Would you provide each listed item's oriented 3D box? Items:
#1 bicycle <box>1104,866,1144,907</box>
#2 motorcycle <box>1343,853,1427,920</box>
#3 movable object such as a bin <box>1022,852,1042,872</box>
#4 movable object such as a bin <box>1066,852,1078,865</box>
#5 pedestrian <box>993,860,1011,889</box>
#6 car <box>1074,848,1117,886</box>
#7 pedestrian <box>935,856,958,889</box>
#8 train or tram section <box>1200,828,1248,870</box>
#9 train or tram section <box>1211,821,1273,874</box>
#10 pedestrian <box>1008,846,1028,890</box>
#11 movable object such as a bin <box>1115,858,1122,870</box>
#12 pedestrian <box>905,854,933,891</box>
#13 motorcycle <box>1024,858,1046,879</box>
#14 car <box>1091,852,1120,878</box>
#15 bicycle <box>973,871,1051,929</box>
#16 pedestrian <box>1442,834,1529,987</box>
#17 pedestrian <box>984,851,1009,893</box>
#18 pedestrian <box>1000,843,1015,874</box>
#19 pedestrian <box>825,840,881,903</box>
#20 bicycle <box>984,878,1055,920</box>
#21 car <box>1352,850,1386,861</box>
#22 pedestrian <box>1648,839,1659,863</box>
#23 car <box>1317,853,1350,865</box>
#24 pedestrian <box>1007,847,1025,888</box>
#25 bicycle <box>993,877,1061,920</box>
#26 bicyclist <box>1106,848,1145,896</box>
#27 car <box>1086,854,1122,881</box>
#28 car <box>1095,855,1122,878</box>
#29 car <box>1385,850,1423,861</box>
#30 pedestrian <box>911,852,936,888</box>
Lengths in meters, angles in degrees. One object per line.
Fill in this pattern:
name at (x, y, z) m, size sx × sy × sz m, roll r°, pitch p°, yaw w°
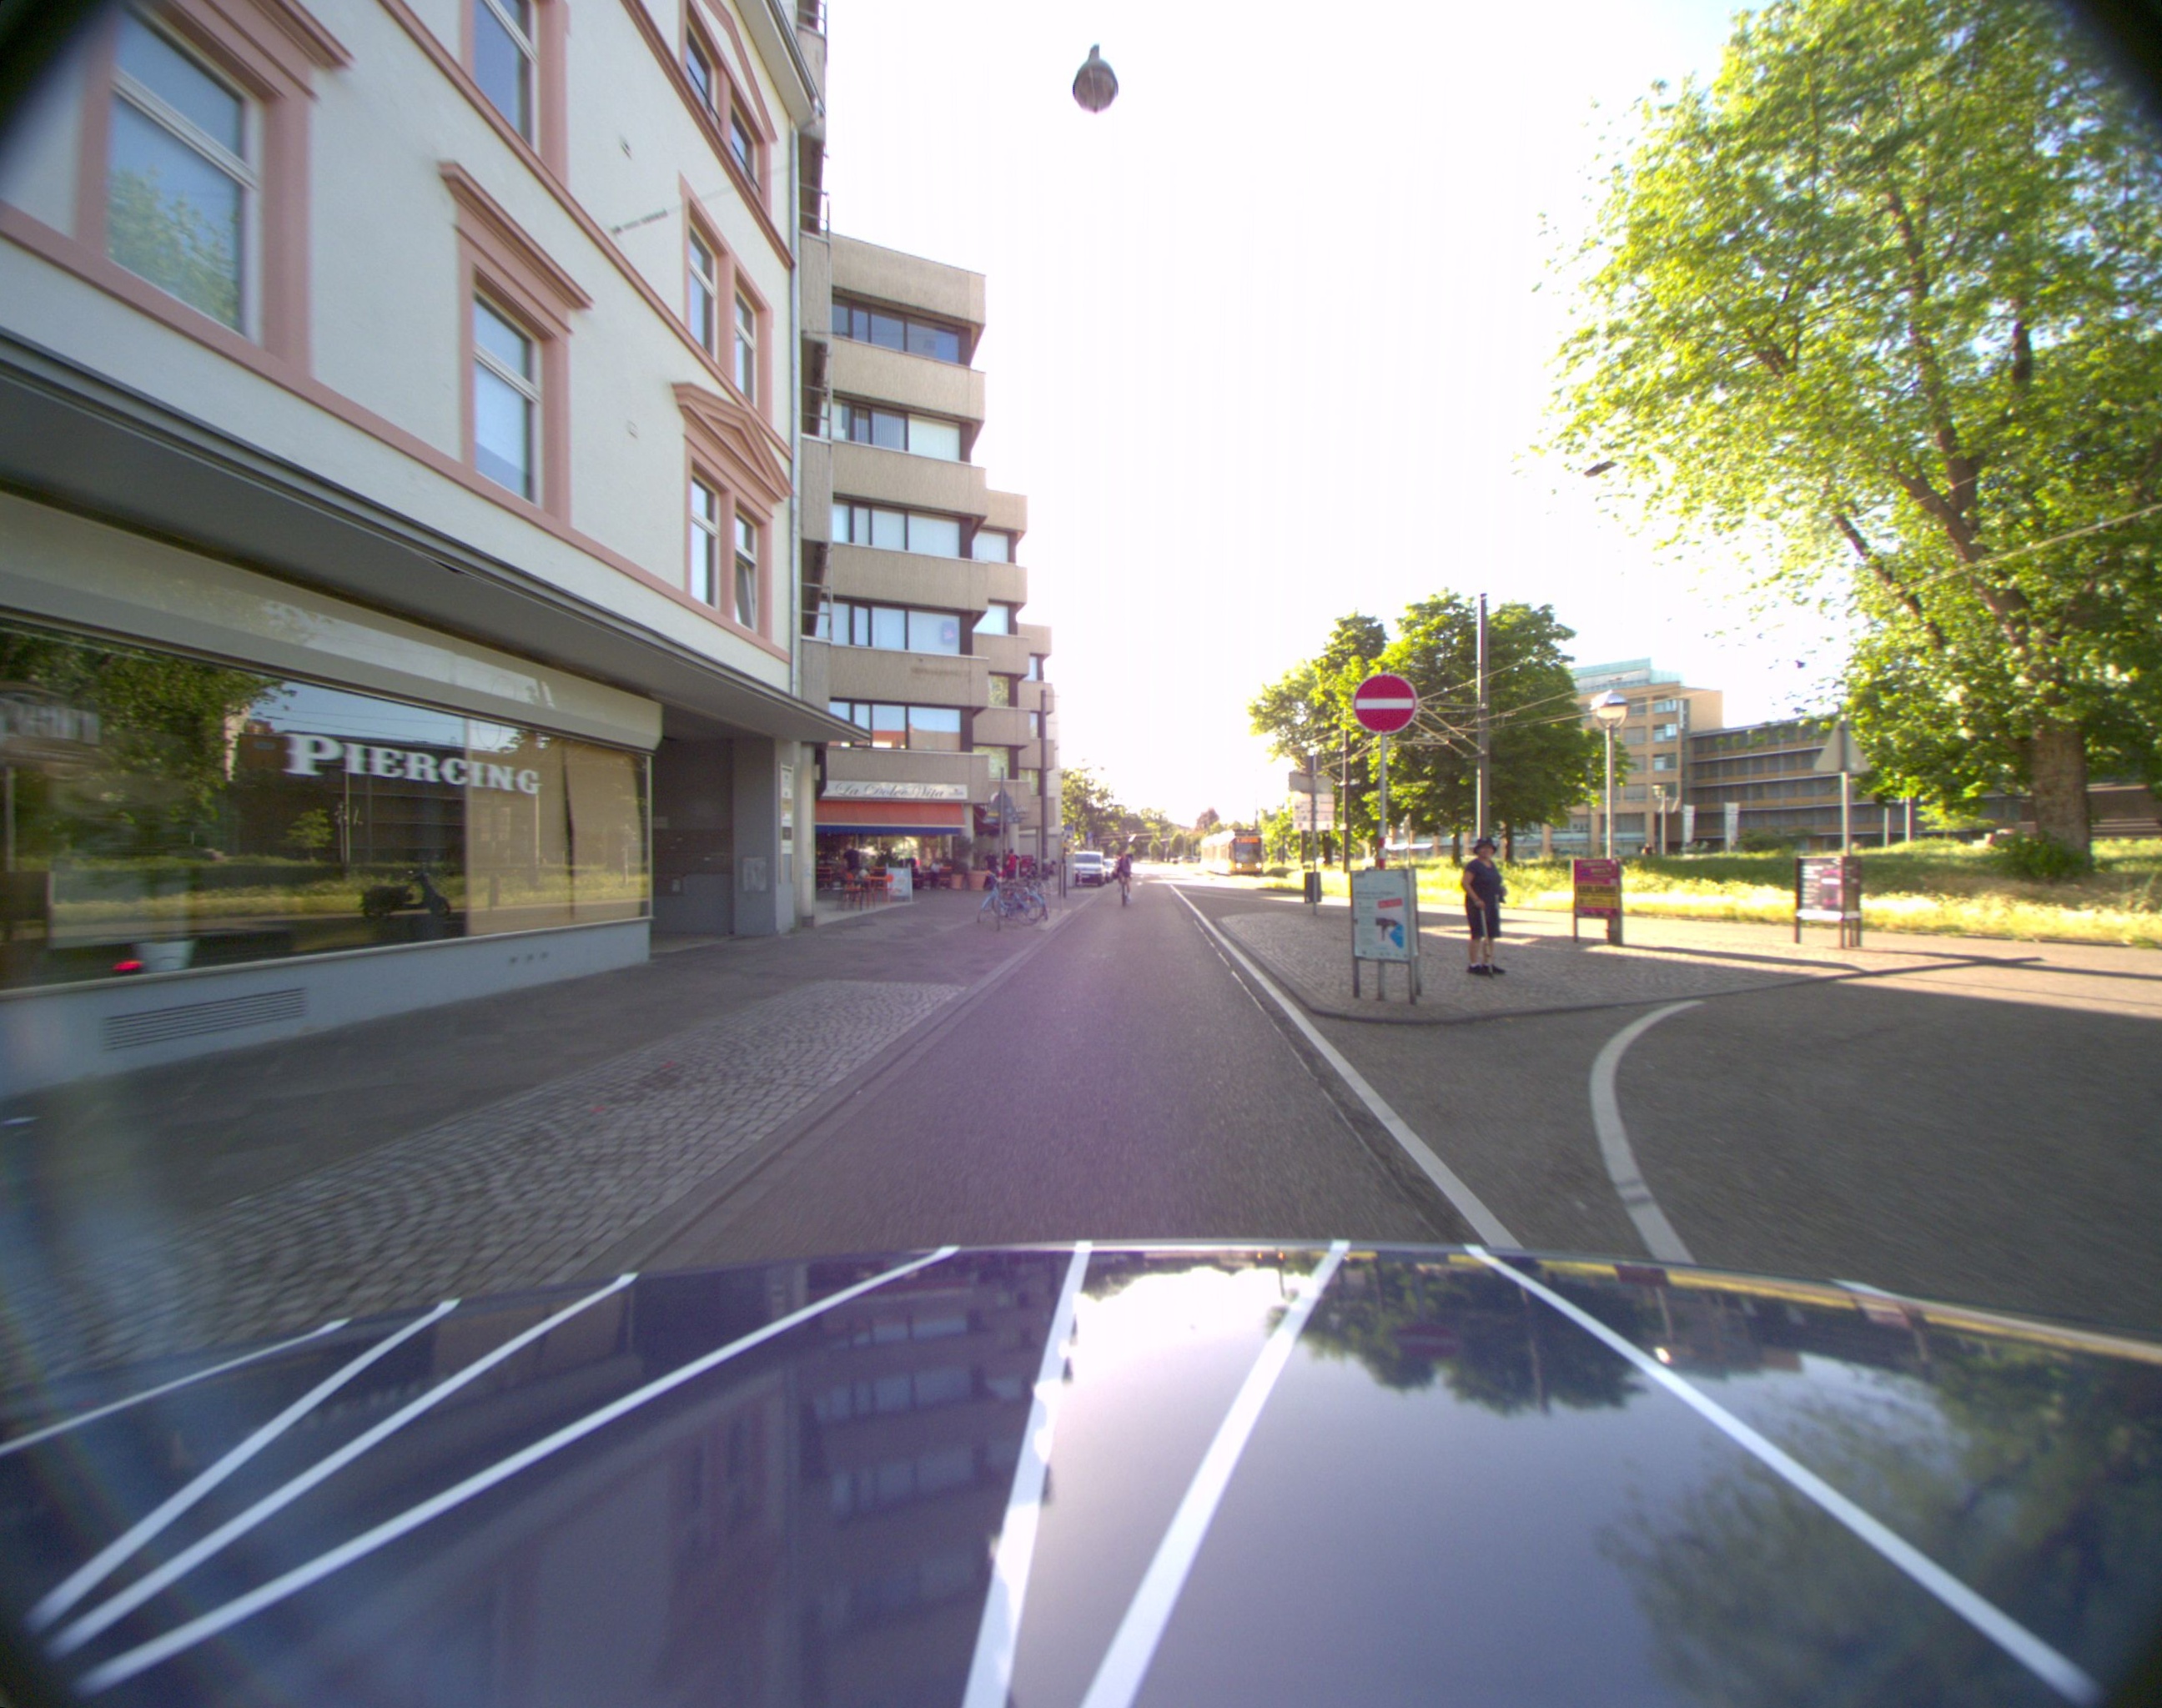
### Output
bicycle at (1.395, 0.997, 24.168) m, size 0.887 × 1.129 × 2.230 m, roll -2°, pitch 1°, yaw 13°
motorcycle at (6.697, 0.684, 16.853) m, size 0.749 × 1.366 × 1.758 m, roll -3°, pitch 1°, yaw -18°
movable object such as a bin at (-3.746, 0.593, 58.041) m, size 1.302 × 1.425 × 0.959 m, roll -2°, pitch 2°, yaw 13°
movable object such as a bin at (-1.170, 0.607, 99.493) m, size 1.261 × 1.699 × 0.943 m, roll -1°, pitch 2°, yaw -20°
pedestrian at (-3.439, 0.883, 33.159) m, size 0.631 × 1.229 × 0.625 m, roll 1°, pitch 2°, yaw 8°
car at (0.839, 0.628, 40.802) m, size 1.998 × 1.802 × 4.310 m, roll -2°, pitch 1°, yaw 5°
pedestrian at (-5.417, 0.728, 30.668) m, size 0.844 × 1.285 × 0.830 m, roll 1°, pitch 2°, yaw -7°
train or tram section at (13.459, -0.462, 72.624) m, size 2.955 × 3.591 × 13.639 m, roll -1°, pitch 0°, yaw 5°
train or tram section at (12.327, -0.459, 59.459) m, size 2.955 × 3.663 × 13.188 m, roll -1°, pitch 0°, yaw 5°
pedestrian at (-2.738, 0.596, 33.067) m, size 0.672 × 1.846 × 0.610 m, roll 2°, pitch 2°, yaw 8°
movable object such as a bin at (3.492, 0.926, 70.015) m, size 0.594 × 1.077 × 0.604 m, roll -2°, pitch 2°, yaw 2°
pedestrian at (-6.310, 0.708, 29.600) m, size 0.845 × 1.394 × 0.751 m, roll -3°, pitch 0°, yaw -25°
motorcycle at (-2.797, 0.852, 46.360) m, size 0.765 × 1.148 × 2.049 m, roll 2°, pitch 2°, yaw 15°
car at (1.770, 0.756, 54.212) m, size 1.855 × 1.679 × 3.867 m, roll -2°, pitch 1°, yaw 5°
bicycle at (-1.582, 1.045, 17.390) m, size 1.623 × 1.236 × 0.660 m, roll -1°, pitch 2°, yaw 25°
pedestrian at (4.573, 0.614, 8.624) m, size 0.637 × 1.663 × 0.693 m, roll -2°, pitch 2°, yaw 6°
pedestrian at (-3.504, 0.723, 31.398) m, size 0.845 × 1.700 × 0.718 m, roll 1°, pitch 1°, yaw -23°
pedestrian at (-4.270, 0.251, 44.051) m, size 0.706 × 1.805 × 0.716 m, roll -2°, pitch 2°, yaw -12°
pedestrian at (-6.550, 0.482, 21.877) m, size 1.020 × 1.733 × 1.137 m, roll -2°, pitch 2°, yaw 18°
bicycle at (-1.523, 1.116, 18.855) m, size 1.705 × 0.998 × 0.428 m, roll -2°, pitch 2°, yaw 21°
car at (41.397, 0.150, 109.193) m, size 2.002 × 1.508 × 4.653 m, roll -3°, pitch 1°, yaw -21°
pedestrian at (40.480, -0.214, 53.719) m, size 0.553 × 1.606 × 0.676 m, roll -1°, pitch 2°, yaw 43°
car at (38.811, 0.763, 116.972) m, size 2.109 × 1.724 × 5.077 m, roll -1°, pitch 0°, yaw -21°
pedestrian at (-2.756, 0.585, 32.346) m, size 0.584 × 1.705 × 0.698 m, roll -2°, pitch 2°, yaw 8°
bicycle at (-1.375, 1.122, 19.211) m, size 1.681 × 1.056 × 0.344 m, roll -2°, pitch 2°, yaw 21°
bicyclist at (1.448, 0.567, 24.402) m, size 1.039 × 1.475 × 0.989 m, roll -2°, pitch 2°, yaw 13°
car at (1.523, 0.833, 47.775) m, size 1.778 × 1.445 × 4.732 m, roll -2°, pitch 1°, yaw 7°
car at (2.147, 0.949, 58.128) m, size 1.674 × 1.510 × 4.200 m, roll -2°, pitch 1°, yaw 7°
car at (43.870, 0.175, 103.399) m, size 2.001 × 1.439 × 5.011 m, roll -2°, pitch 1°, yaw -17°
pedestrian at (-6.324, 0.641, 30.513) m, size 0.845 × 1.394 × 0.830 m, roll -1°, pitch 0°, yaw -20°
